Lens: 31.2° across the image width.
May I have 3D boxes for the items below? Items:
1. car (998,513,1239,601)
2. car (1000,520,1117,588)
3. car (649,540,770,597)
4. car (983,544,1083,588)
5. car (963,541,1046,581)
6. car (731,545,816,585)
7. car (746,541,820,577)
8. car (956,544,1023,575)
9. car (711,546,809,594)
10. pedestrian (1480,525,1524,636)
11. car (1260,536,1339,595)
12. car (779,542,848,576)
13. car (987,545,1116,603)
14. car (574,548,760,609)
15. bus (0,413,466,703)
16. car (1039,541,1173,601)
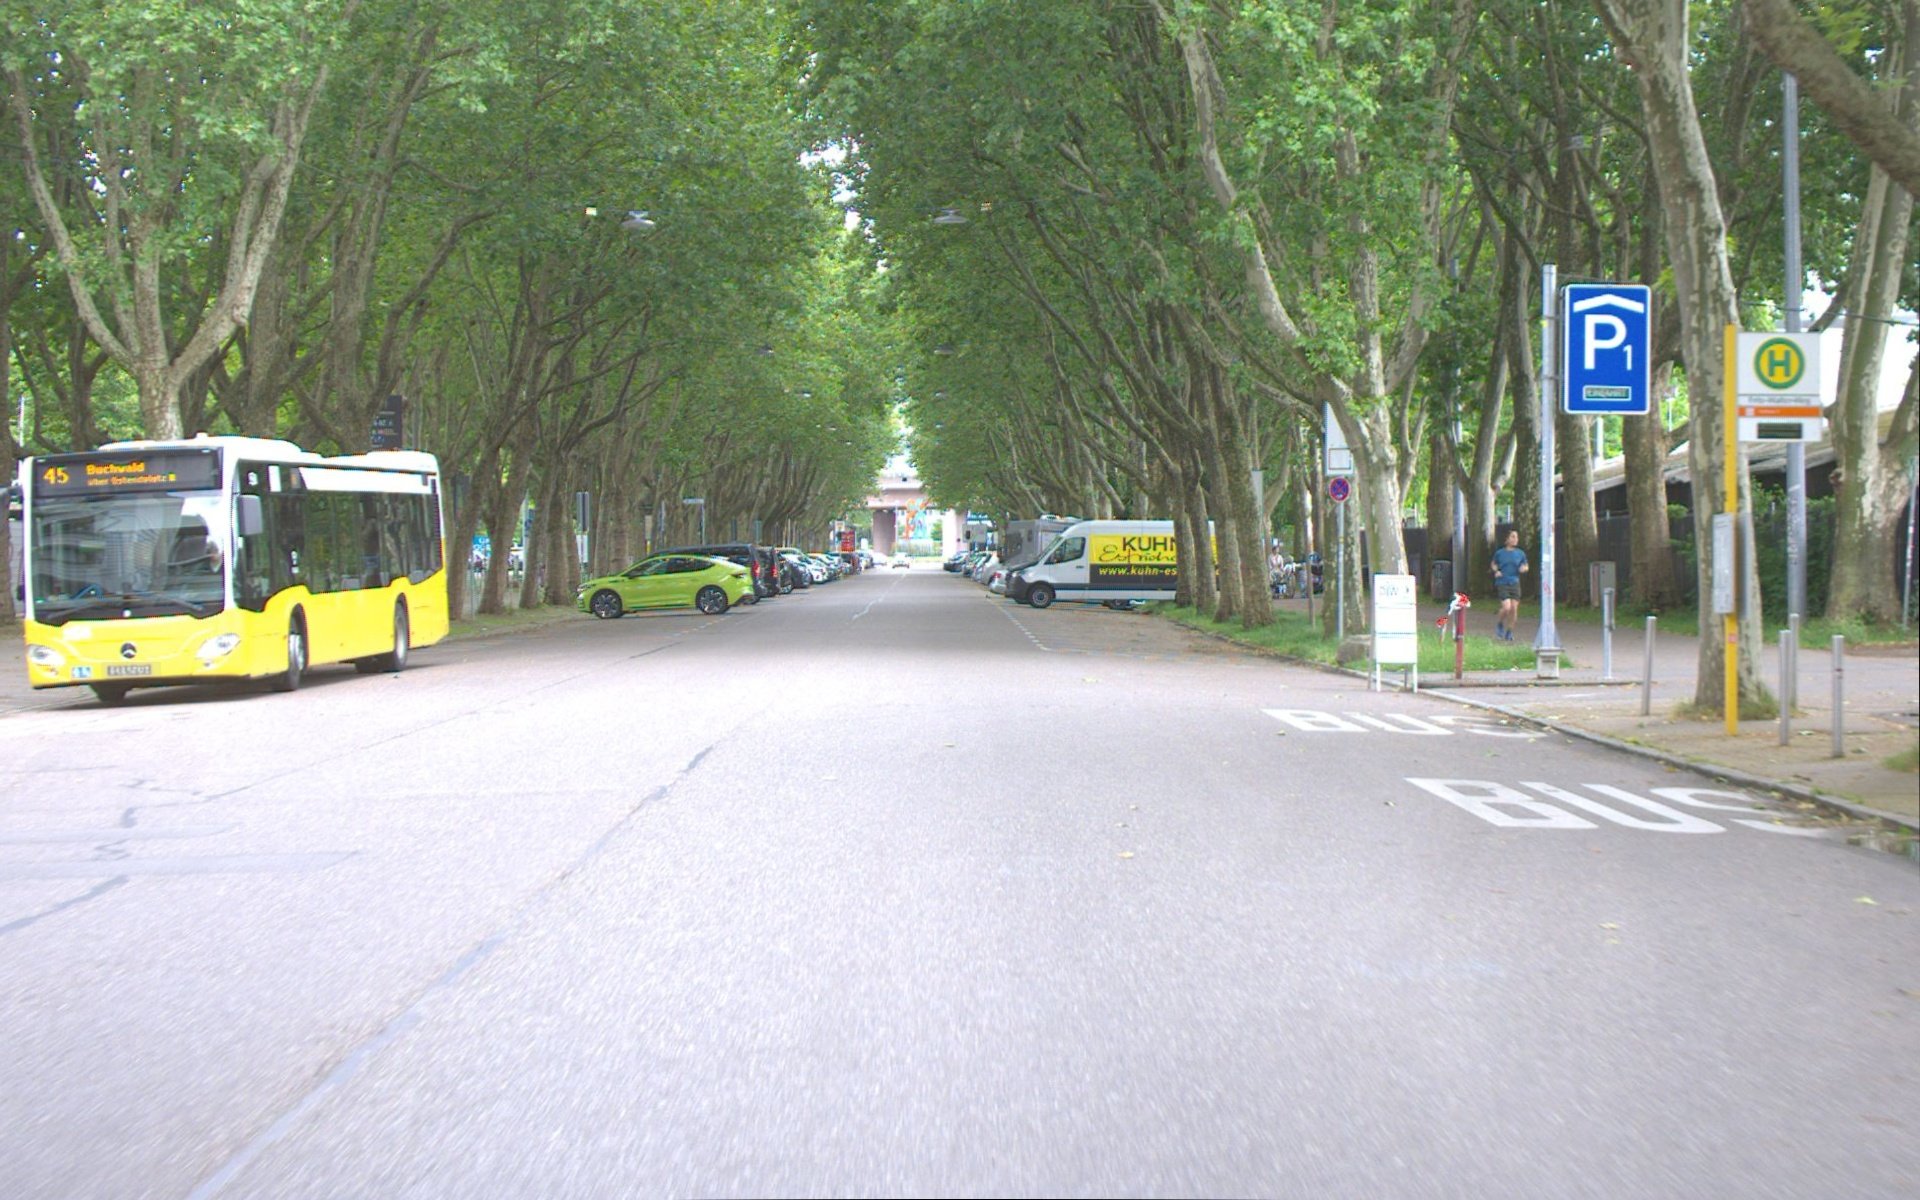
[{"bbox_3d":[4.587,-1.278,100.296,6.822,2.505,2.317,0,1,-2],"label":"car"},{"bbox_3d":[3.377,-1.586,118.385,3.987,2.331,1.543,0,1,-1],"label":"car"},{"bbox_3d":[-8.014,-1.018,110.083,3.781,1.788,1.543,0,1,-1],"label":"car"},{"bbox_3d":[2.924,-1.379,138.983,3.987,1.788,1.543,0,1,-1],"label":"car"},{"bbox_3d":[1.977,-1.740,153.543,3.621,1.788,1.543,0,1,-1],"label":"car"},{"bbox_3d":[-8.305,-1.568,153.311,3.661,1.736,1.507,0,1,3],"label":"car"},{"bbox_3d":[-9.913,-2.290,192.640,3.987,2.007,1.825,0,1,3],"label":"car"},{"bbox_3d":[1.748,-2.406,204.103,3.987,1.855,1.637,0,1,0],"label":"car"},{"bbox_3d":[-7.794,-1.184,134.170,3.661,1.857,1.624,0,1,3],"label":"car"},{"bbox_3d":[9.211,-0.335,58.422,0.572,1.881,0.617,0,1,-9],"label":"pedestrian"},{"bbox_3d":[10.346,-1.057,104.934,1.993,1.766,4.000,0,1,0],"label":"car"},{"bbox_3d":[-8.711,-2.443,204.321,3.987,1.963,2.000,0,1,0],"label":"car"},{"bbox_3d":[2.843,-0.817,107.754,3.987,1.788,1.543,0,1,-1],"label":"car"},{"bbox_3d":[-7.665,-0.561,90.292,4.700,1.579,1.864,0,1,1],"label":"car"},{"bbox_3d":[-9.215,-0.566,44.807,3.039,3.149,12.676,-2,1,3],"label":"bus"},{"bbox_3d":[4.388,-0.885,103.633,3.987,1.782,1.520,0,1,2],"label":"car"}]
